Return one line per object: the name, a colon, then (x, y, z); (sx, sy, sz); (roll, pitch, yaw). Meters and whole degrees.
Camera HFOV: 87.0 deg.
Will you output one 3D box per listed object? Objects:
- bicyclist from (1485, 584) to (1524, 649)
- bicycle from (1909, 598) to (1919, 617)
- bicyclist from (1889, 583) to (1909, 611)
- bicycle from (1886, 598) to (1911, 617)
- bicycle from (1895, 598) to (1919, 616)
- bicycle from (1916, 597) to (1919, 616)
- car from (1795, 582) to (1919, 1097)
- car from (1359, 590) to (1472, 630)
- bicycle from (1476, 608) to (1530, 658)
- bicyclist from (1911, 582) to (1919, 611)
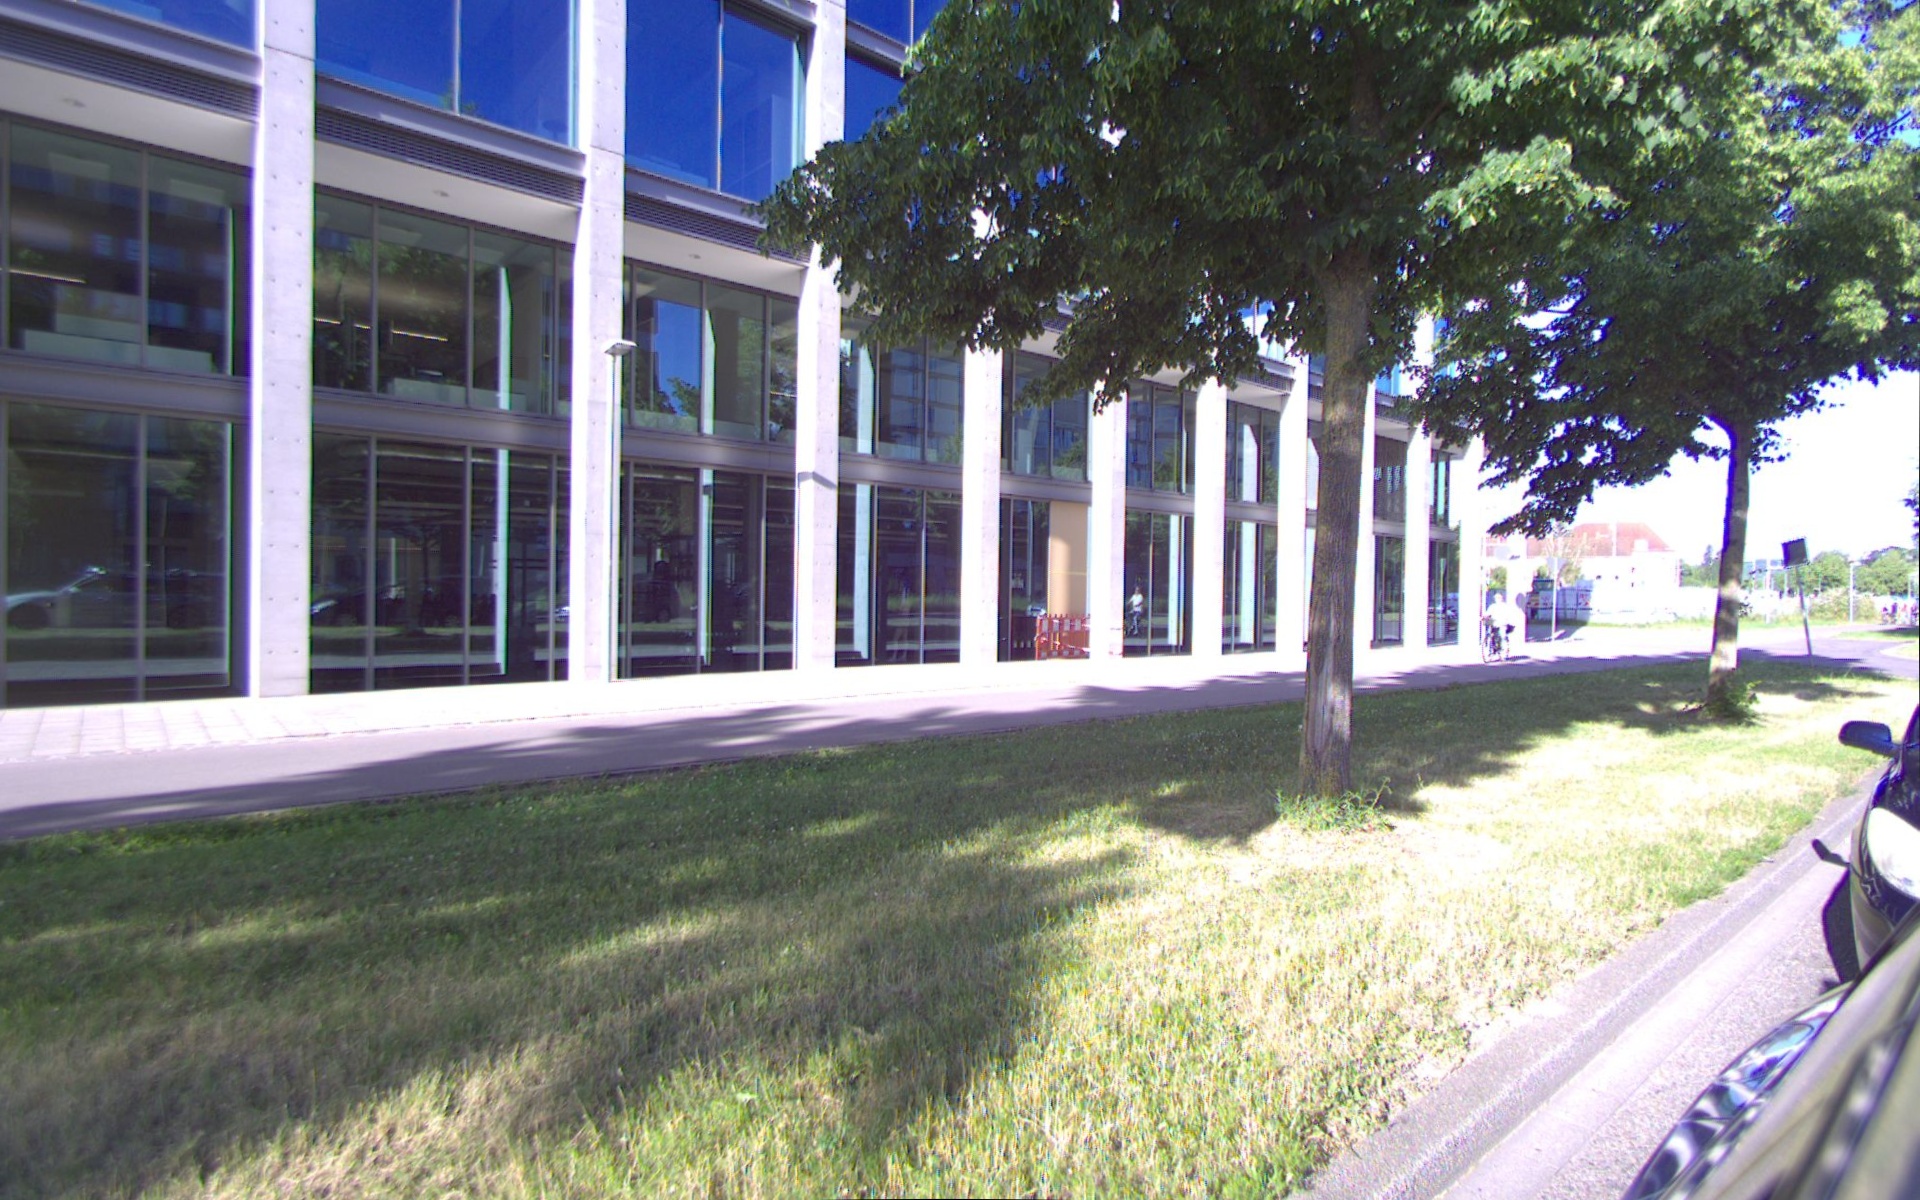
bicyclist: (13.517, 0.398, 25.126); (0.688, 1.558, 0.590); (1, 2, -43)
bicycle: (71.033, 0.529, 74.806); (3.930, 1.380, 0.930); (0, 1, -41)
bicyclist: (70.069, -0.241, 75.505); (1.101, 2.082, 0.930); (0, 0, -41)
bicycle: (70.040, 0.556, 75.501); (3.930, 1.380, 0.930); (0, 1, -41)
bicycle: (73.293, 0.520, 78.330); (3.930, 1.380, 0.930); (0, 1, -41)
bicycle: (74.098, 0.495, 77.505); (3.930, 1.380, 0.930); (0, 1, -41)
car: (4.875, 0.707, 3.911); (4.403, 1.500, 1.845); (0, 1, -41)
car: (19.513, 0.388, 43.487); (1.963, 1.598, 3.997); (0, 1, -38)
bicycle: (13.503, 0.793, 25.141); (1.895, 1.170, 0.590); (1, 2, -44)
bicyclist: (70.977, -0.267, 74.749); (1.101, 2.082, 0.930); (0, 0, -41)
